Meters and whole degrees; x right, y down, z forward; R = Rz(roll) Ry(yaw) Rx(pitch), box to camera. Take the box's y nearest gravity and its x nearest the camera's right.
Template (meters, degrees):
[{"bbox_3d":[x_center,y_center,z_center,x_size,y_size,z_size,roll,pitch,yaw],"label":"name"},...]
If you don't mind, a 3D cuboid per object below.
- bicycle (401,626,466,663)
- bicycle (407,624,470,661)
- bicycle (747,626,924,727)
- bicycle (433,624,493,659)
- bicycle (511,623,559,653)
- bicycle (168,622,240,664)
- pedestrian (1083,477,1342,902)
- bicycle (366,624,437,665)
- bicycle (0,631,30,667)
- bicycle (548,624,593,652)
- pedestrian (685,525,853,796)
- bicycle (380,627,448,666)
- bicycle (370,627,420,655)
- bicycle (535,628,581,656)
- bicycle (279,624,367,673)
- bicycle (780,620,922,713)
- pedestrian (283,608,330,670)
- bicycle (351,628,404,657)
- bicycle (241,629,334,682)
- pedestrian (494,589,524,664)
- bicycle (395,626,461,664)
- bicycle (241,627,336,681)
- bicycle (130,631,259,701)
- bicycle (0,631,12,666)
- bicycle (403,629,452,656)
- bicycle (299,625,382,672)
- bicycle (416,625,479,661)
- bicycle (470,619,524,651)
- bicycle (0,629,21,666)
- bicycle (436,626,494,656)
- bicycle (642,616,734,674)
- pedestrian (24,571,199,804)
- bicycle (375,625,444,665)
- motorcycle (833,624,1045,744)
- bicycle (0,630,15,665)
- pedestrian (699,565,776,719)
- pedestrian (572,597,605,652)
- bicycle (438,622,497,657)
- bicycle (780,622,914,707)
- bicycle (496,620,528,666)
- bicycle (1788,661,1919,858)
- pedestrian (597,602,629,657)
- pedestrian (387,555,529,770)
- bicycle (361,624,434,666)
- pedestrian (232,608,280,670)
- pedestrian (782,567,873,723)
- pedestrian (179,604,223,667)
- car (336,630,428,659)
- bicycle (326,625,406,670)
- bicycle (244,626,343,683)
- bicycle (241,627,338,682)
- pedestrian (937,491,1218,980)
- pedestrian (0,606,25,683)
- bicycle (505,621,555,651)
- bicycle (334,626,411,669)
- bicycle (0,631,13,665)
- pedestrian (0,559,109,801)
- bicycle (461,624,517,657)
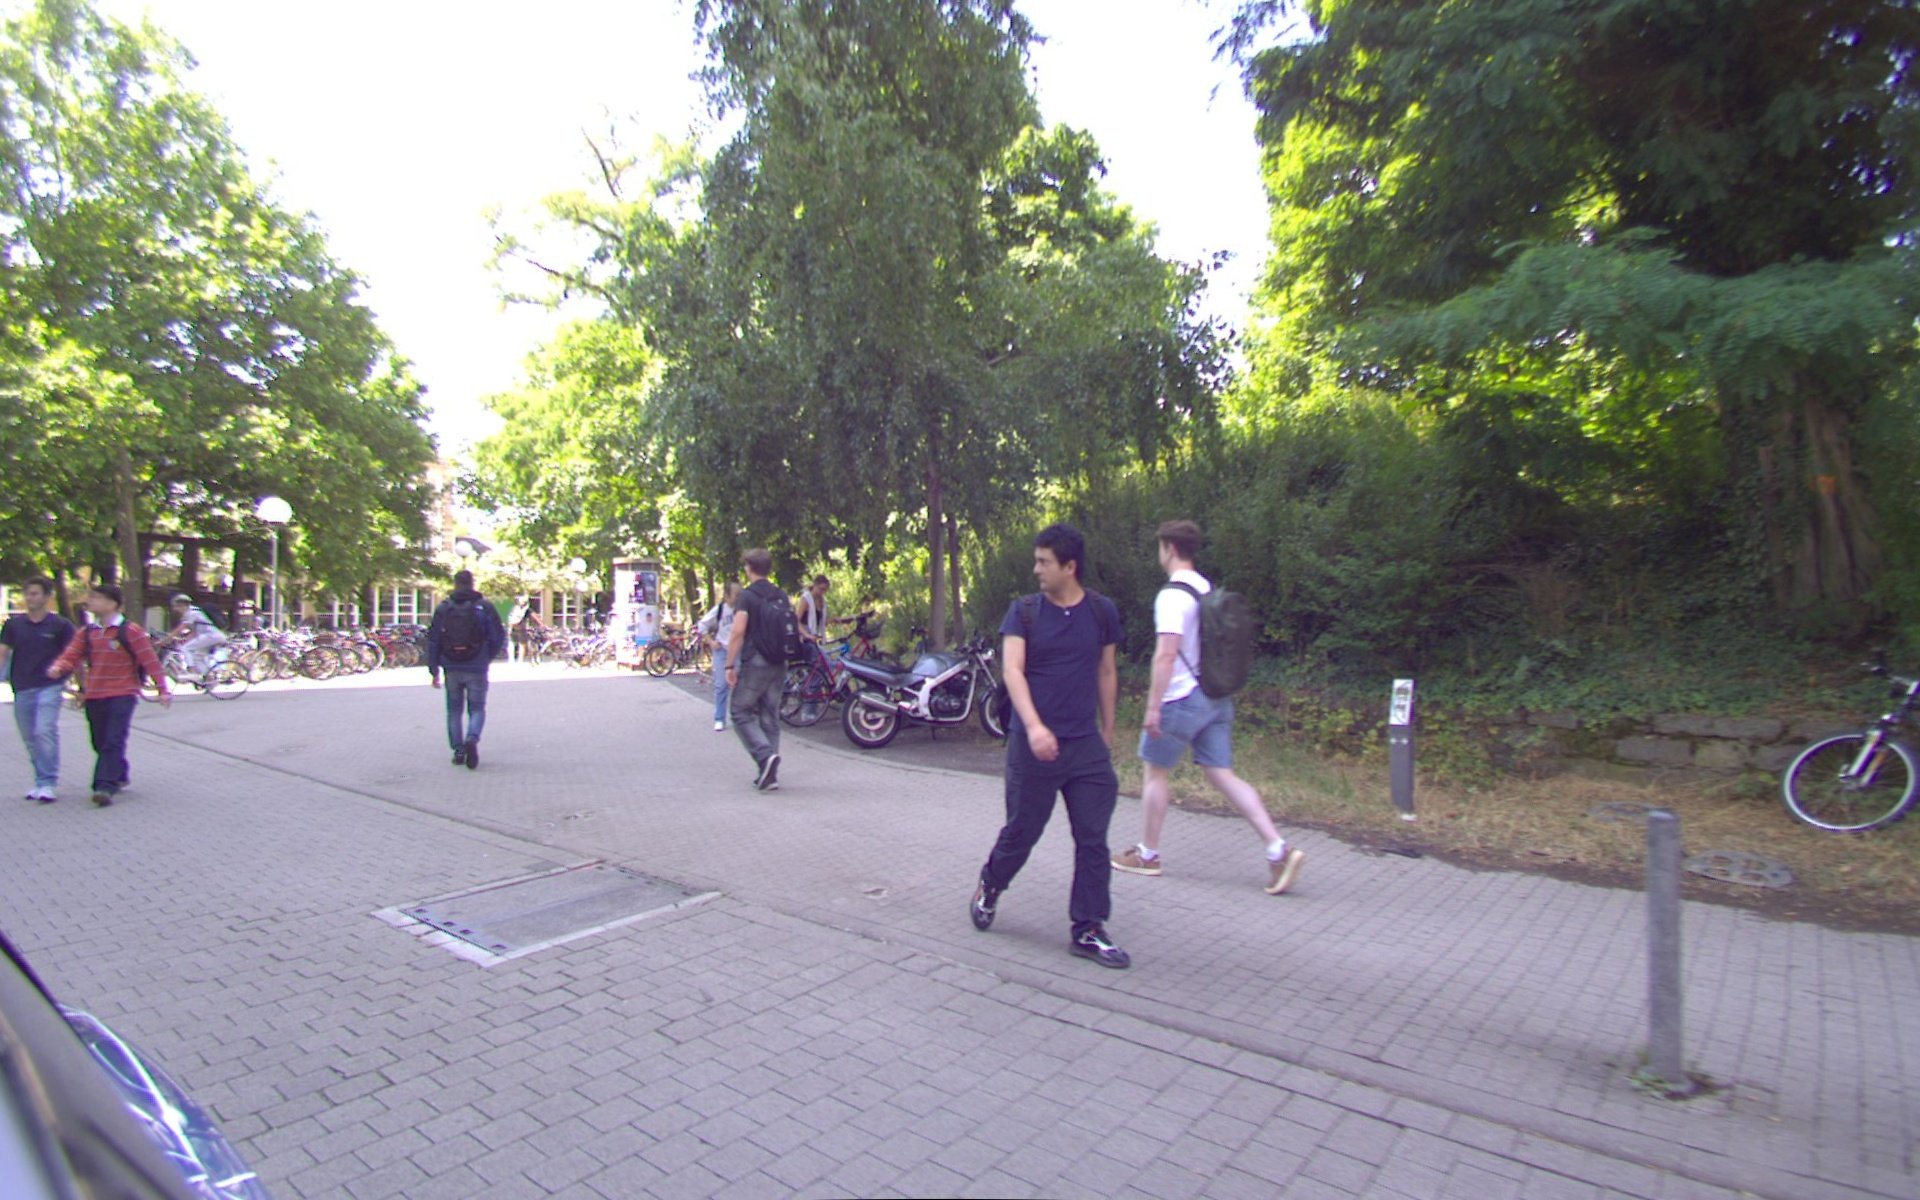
[{"bbox_3d":[-15.815,1.326,30.423,1.671,1.092,0.475,0,-1,-15],"label":"bicycle"},{"bbox_3d":[-15.920,1.294,30.923,1.671,1.092,0.475,0,-1,-15],"label":"bicycle"},{"bbox_3d":[-1.350,0.830,11.154,1.881,1.055,0.542,-1,-1,-1],"label":"bicycle"},{"bbox_3d":[-15.868,1.311,32.317,1.673,1.092,0.475,-1,-1,-7],"label":"bicycle"},{"bbox_3d":[-16.215,1.451,38.627,1.676,1.092,0.474,-1,-1,1],"label":"bicycle"},{"bbox_3d":[-21.992,1.250,29.458,1.676,1.209,0.576,-1,-1,1],"label":"bicycle"},{"bbox_3d":[1.273,0.402,5.120,1.080,1.895,0.717,-1,-1,36],"label":"pedestrian"},{"bbox_3d":[-15.532,1.238,28.168,1.671,1.092,0.475,0,-1,-15],"label":"bicycle"},{"bbox_3d":[-29.955,1.525,31.309,1.699,1.116,0.720,0,-1,-40],"label":"bicycle"},{"bbox_3d":[-15.886,1.540,41.308,1.676,1.092,0.474,-1,-1,1],"label":"bicycle"},{"bbox_3d":[-1.455,0.427,7.679,1.118,1.887,0.676,-1,-1,36],"label":"pedestrian"},{"bbox_3d":[-15.819,1.334,29.321,1.671,1.092,0.475,0,-1,-15],"label":"bicycle"},{"bbox_3d":[-22.888,1.649,40.968,1.885,1.116,0.501,-1,-1,10],"label":"bicycle"},{"bbox_3d":[-16.003,1.671,40.282,1.676,1.092,0.474,-1,-1,1],"label":"bicycle"},{"bbox_3d":[-14.698,1.107,23.372,1.672,1.092,0.475,0,-1,-9],"label":"bicycle"},{"bbox_3d":[-1.327,0.806,12.448,1.675,1.055,0.474,-2,0,-1],"label":"bicycle"},{"bbox_3d":[-18.725,1.111,29.034,0.893,1.716,0.771,-1,-1,-7],"label":"pedestrian"},{"bbox_3d":[-22.850,1.669,39.721,1.884,1.116,0.502,-1,-1,7],"label":"bicycle"},{"bbox_3d":[-14.704,1.195,22.178,1.670,1.092,0.475,0,-1,-31],"label":"bicycle"},{"bbox_3d":[-11.419,0.670,25.664,0.603,1.849,1.053,0,-1,-19],"label":"pedestrian"},{"bbox_3d":[-15.705,1.314,29.907,1.671,1.092,0.475,0,-1,-15],"label":"bicycle"},{"bbox_3d":[-14.411,1.150,21.760,1.670,1.092,0.475,0,-1,-31],"label":"bicycle"},{"bbox_3d":[-12.972,1.091,17.192,0.604,1.092,1.675,-1,-1,43],"label":"bicycle"},{"bbox_3d":[-32.156,1.602,33.129,0.496,1.159,1.608,-1,-1,40],"label":"bicycle"},{"bbox_3d":[-22.755,1.809,43.243,1.983,1.116,0.501,-1,-1,10],"label":"bicycle"},{"bbox_3d":[-14.953,1.168,24.458,1.672,1.092,0.475,0,-1,-9],"label":"bicycle"},{"bbox_3d":[-15.959,1.324,31.534,1.671,1.092,0.475,0,-1,-15],"label":"bicycle"},{"bbox_3d":[-16.151,1.209,35.320,1.676,1.092,0.474,-1,-1,1],"label":"bicycle"},{"bbox_3d":[-31.118,1.513,32.186,0.496,1.170,1.764,-1,-1,34],"label":"bicycle"},{"bbox_3d":[-16.373,1.351,33.480,1.716,0.969,0.452,-1,-1,1],"label":"bicycle"},{"bbox_3d":[-5.500,0.903,20.442,1.747,1.118,0.475,0,-1,-21],"label":"bicycle"},{"bbox_3d":[-6.808,0.672,8.185,0.707,1.737,1.068,0,-2,-18],"label":"pedestrian"},{"bbox_3d":[-15.682,1.268,28.861,1.671,1.092,0.475,0,-1,-15],"label":"bicycle"},{"bbox_3d":[-0.217,0.794,9.878,1.994,1.055,0.475,-2,-1,-7],"label":"motorcycle"},{"bbox_3d":[-30.819,1.506,31.770,0.496,1.116,1.611,-1,-1,34],"label":"bicycle"},{"bbox_3d":[-2.593,0.492,11.827,0.722,1.737,0.685,-1,-2,4],"label":"pedestrian"},{"bbox_3d":[-12.624,0.820,34.409,0.823,1.829,0.882,-1,-1,0],"label":"pedestrian"},{"bbox_3d":[-15.974,1.284,32.842,1.673,1.092,0.475,-1,-1,-7],"label":"bicycle"},{"bbox_3d":[-1.440,0.817,13.073,1.675,1.055,0.474,-1,-1,-1],"label":"bicycle"},{"bbox_3d":[-11.396,1.080,25.782,0.466,1.118,1.850,0,-1,-16],"label":"bicycle"},{"bbox_3d":[5.042,0.799,4.747,0.416,0.917,1.744,0,0,-35],"label":"bicycle"},{"bbox_3d":[-11.768,0.993,34.340,0.759,1.817,0.984,-1,-1,0],"label":"pedestrian"},{"bbox_3d":[-4.631,0.552,9.420,0.874,1.872,1.034,-1,-1,-7],"label":"pedestrian"},{"bbox_3d":[-15.368,1.226,27.687,1.671,1.092,0.475,0,-1,-15],"label":"bicycle"},{"bbox_3d":[-19.961,1.085,28.715,0.892,1.716,0.772,-1,-1,-13],"label":"pedestrian"},{"bbox_3d":[-1.516,0.519,11.671,0.925,1.737,0.676,-1,-2,4],"label":"pedestrian"},{"bbox_3d":[-22.362,1.038,29.835,0.701,1.820,0.768,-1,-1,7],"label":"pedestrian"},{"bbox_3d":[-35.130,2.664,61.582,1.836,1.630,4.481,0,-1,37],"label":"car"},{"bbox_3d":[-15.026,1.194,25.626,1.671,1.092,0.475,0,-1,-12],"label":"bicycle"},{"bbox_3d":[-13.754,1.103,20.916,1.672,1.118,0.475,0,-1,-38],"label":"bicycle"},{"bbox_3d":[-14.108,1.121,21.314,1.695,1.092,0.475,0,-1,-36],"label":"bicycle"},{"bbox_3d":[0.467,0.486,4.169,0.676,1.737,0.905,0,-1,-42],"label":"pedestrian"},{"bbox_3d":[-21.362,0.992,22.477,0.757,1.692,0.909,1,-3,-37],"label":"pedestrian"},{"bbox_3d":[-16.173,1.364,38.070,1.676,1.092,0.474,-1,-1,1],"label":"bicycle"},{"bbox_3d":[-15.410,1.232,26.575,1.671,1.092,0.475,0,-1,-15],"label":"bicycle"},{"bbox_3d":[-31.633,1.564,32.557,0.643,1.116,1.611,-1,-1,34],"label":"bicycle"},{"bbox_3d":[-7.537,0.625,8.163,0.674,1.849,0.944,0,-2,-16],"label":"pedestrian"},{"bbox_3d":[-16.053,1.385,34.501,1.676,1.092,0.474,-1,-1,1],"label":"bicycle"}]
